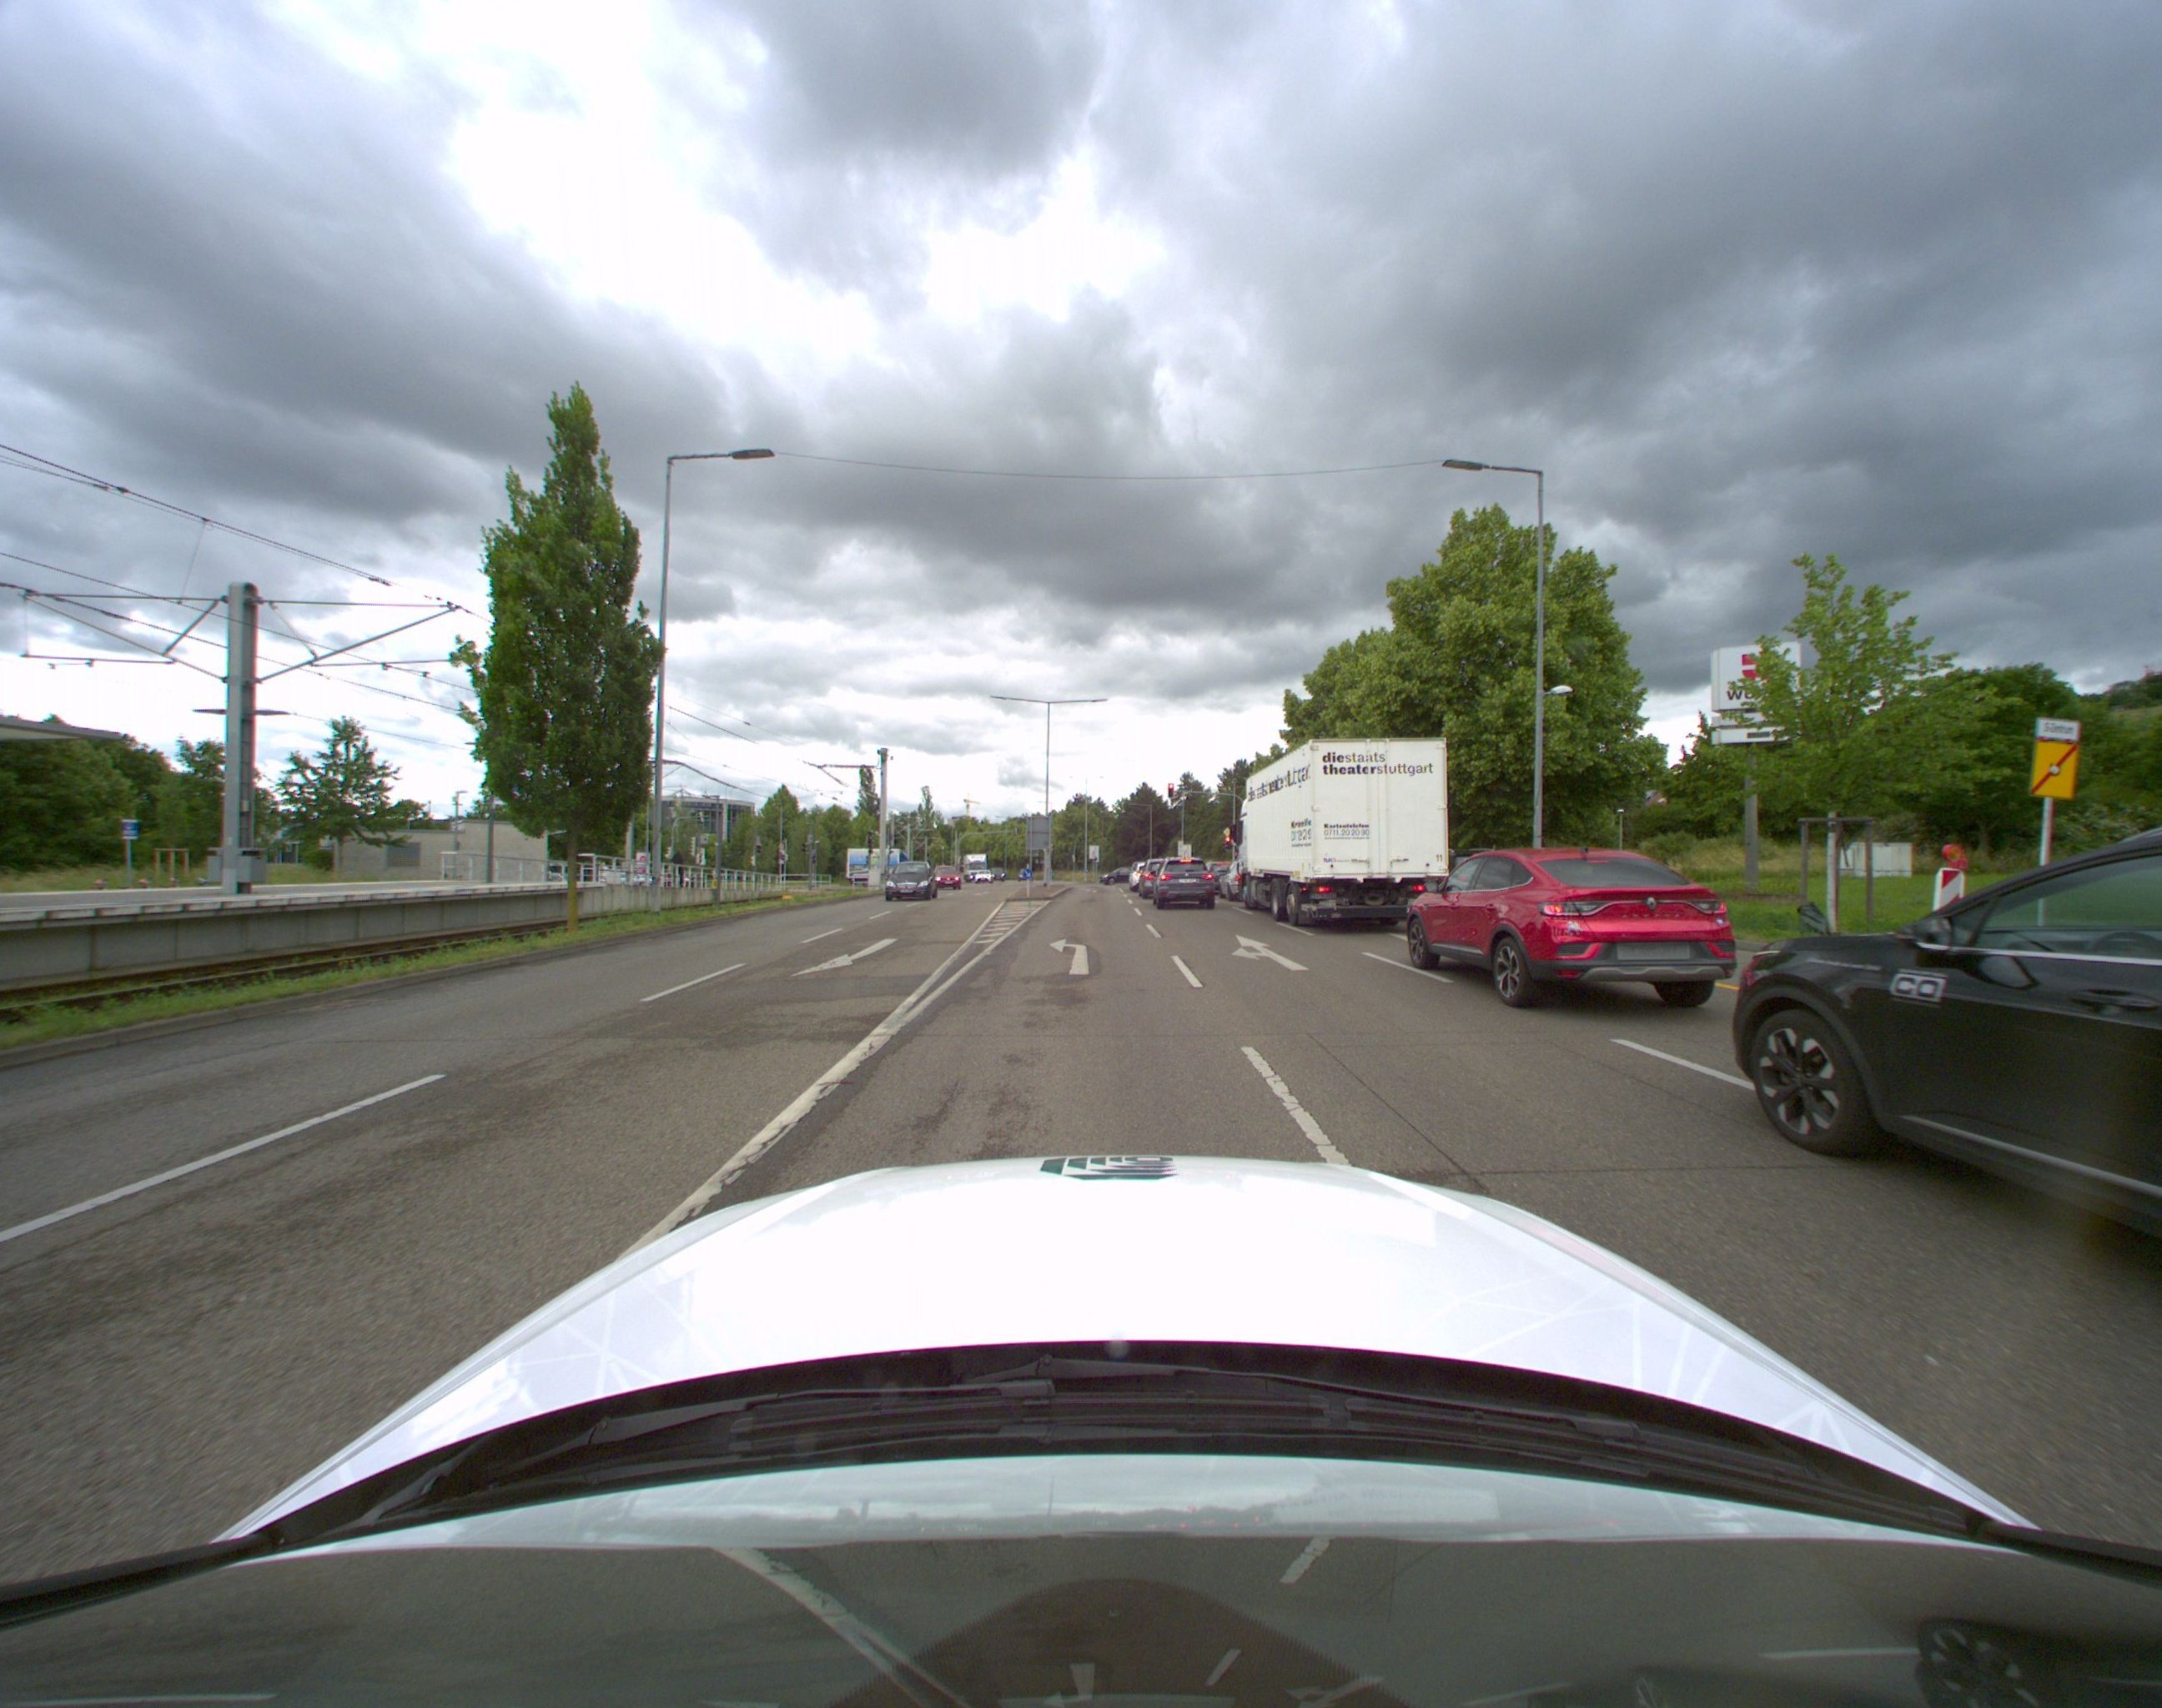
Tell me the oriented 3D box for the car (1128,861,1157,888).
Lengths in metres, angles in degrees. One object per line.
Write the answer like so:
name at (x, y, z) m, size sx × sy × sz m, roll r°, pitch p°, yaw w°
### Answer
car at (3.496, 1.159, 46.650) m, size 1.529 × 1.504 × 2.670 m, roll -1°, pitch -1°, yaw 1°

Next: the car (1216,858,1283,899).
car at (6.018, 0.869, 29.556) m, size 1.804 × 1.354 × 4.122 m, roll -1°, pitch -1°, yaw 4°

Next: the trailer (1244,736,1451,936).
trailer at (5.744, -0.344, 19.098) m, size 2.556 × 3.705 × 7.768 m, roll -1°, pitch 0°, yaw 2°

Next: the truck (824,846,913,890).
truck at (-18.679, 1.174, 71.945) m, size 7.237 × 3.598 × 2.684 m, roll -1°, pitch 2°, yaw -9°

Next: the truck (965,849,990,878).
truck at (-13.554, 1.222, 107.423) m, size 2.655 × 3.649 × 9.489 m, roll 0°, pitch 0°, yaw -4°

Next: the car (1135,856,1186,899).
car at (3.080, 0.869, 32.244) m, size 1.791 × 1.523 × 4.191 m, roll -1°, pitch 0°, yaw 3°

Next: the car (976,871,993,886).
car at (-10.829, 2.707, 91.501) m, size 1.773 × 1.508 × 3.740 m, roll 0°, pitch 1°, yaw -5°

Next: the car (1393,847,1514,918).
car at (8.988, 0.623, 19.887) m, size 1.564 × 1.571 × 3.060 m, roll 1°, pitch 1°, yaw 1°

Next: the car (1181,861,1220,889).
car at (6.329, 1.093, 43.511) m, size 1.540 × 1.404 × 4.000 m, roll -1°, pitch -1°, yaw 1°

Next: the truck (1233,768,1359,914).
truck at (5.906, -0.342, 22.994) m, size 2.561 × 3.705 × 4.108 m, roll -1°, pitch 0°, yaw 2°

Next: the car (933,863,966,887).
car at (-8.614, 1.323, 53.639) m, size 1.699 × 1.488 × 4.082 m, roll -1°, pitch -1°, yaw -3°

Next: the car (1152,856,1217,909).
car at (3.132, 0.830, 25.350) m, size 1.691 × 1.486 × 4.003 m, roll -1°, pitch -1°, yaw 3°

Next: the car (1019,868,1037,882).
car at (-6.843, 2.676, 105.673) m, size 1.916 × 1.576 × 3.988 m, roll -1°, pitch 1°, yaw -9°

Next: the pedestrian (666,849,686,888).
pedestrian at (-19.338, 0.694, 38.856) m, size 0.570 × 1.828 × 0.792 m, roll 0°, pitch -1°, yaw -2°

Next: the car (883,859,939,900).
car at (-6.999, 1.021, 33.904) m, size 1.722 × 1.574 × 3.702 m, roll -1°, pitch -1°, yaw -3°

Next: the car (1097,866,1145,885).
car at (3.281, 1.754, 66.836) m, size 3.912 × 1.496 × 1.599 m, roll -1°, pitch 0°, yaw 1°

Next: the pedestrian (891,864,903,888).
pedestrian at (-12.177, 1.436, 53.884) m, size 0.349 × 1.556 × 0.657 m, roll 0°, pitch 2°, yaw 35°

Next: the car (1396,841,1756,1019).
car at (5.092, 0.667, 9.185) m, size 1.699 × 1.524 × 4.325 m, roll -1°, pitch 0°, yaw 5°

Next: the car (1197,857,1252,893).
car at (6.271, 0.889, 36.059) m, size 1.818 × 1.435 × 4.215 m, roll -1°, pitch -1°, yaw 2°

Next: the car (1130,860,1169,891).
car at (3.429, 1.074, 41.345) m, size 1.715 × 1.422 × 4.357 m, roll -1°, pitch -1°, yaw 1°

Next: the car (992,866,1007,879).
car at (-11.155, 2.521, 111.452) m, size 1.912 × 1.728 × 3.993 m, roll -1°, pitch 0°, yaw -5°

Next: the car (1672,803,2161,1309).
car at (4.270, 0.602, 2.697) m, size 1.835 × 1.561 × 4.413 m, roll -1°, pitch 0°, yaw 7°

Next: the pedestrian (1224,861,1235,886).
pedestrian at (8.887, 1.145, 48.637) m, size 0.607 × 1.453 × 0.355 m, roll -1°, pitch 1°, yaw 10°

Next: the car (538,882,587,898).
car at (-44.735, 3.108, 70.296) m, size 3.264 × 1.310 × 1.556 m, roll -1°, pitch -1°, yaw 8°
